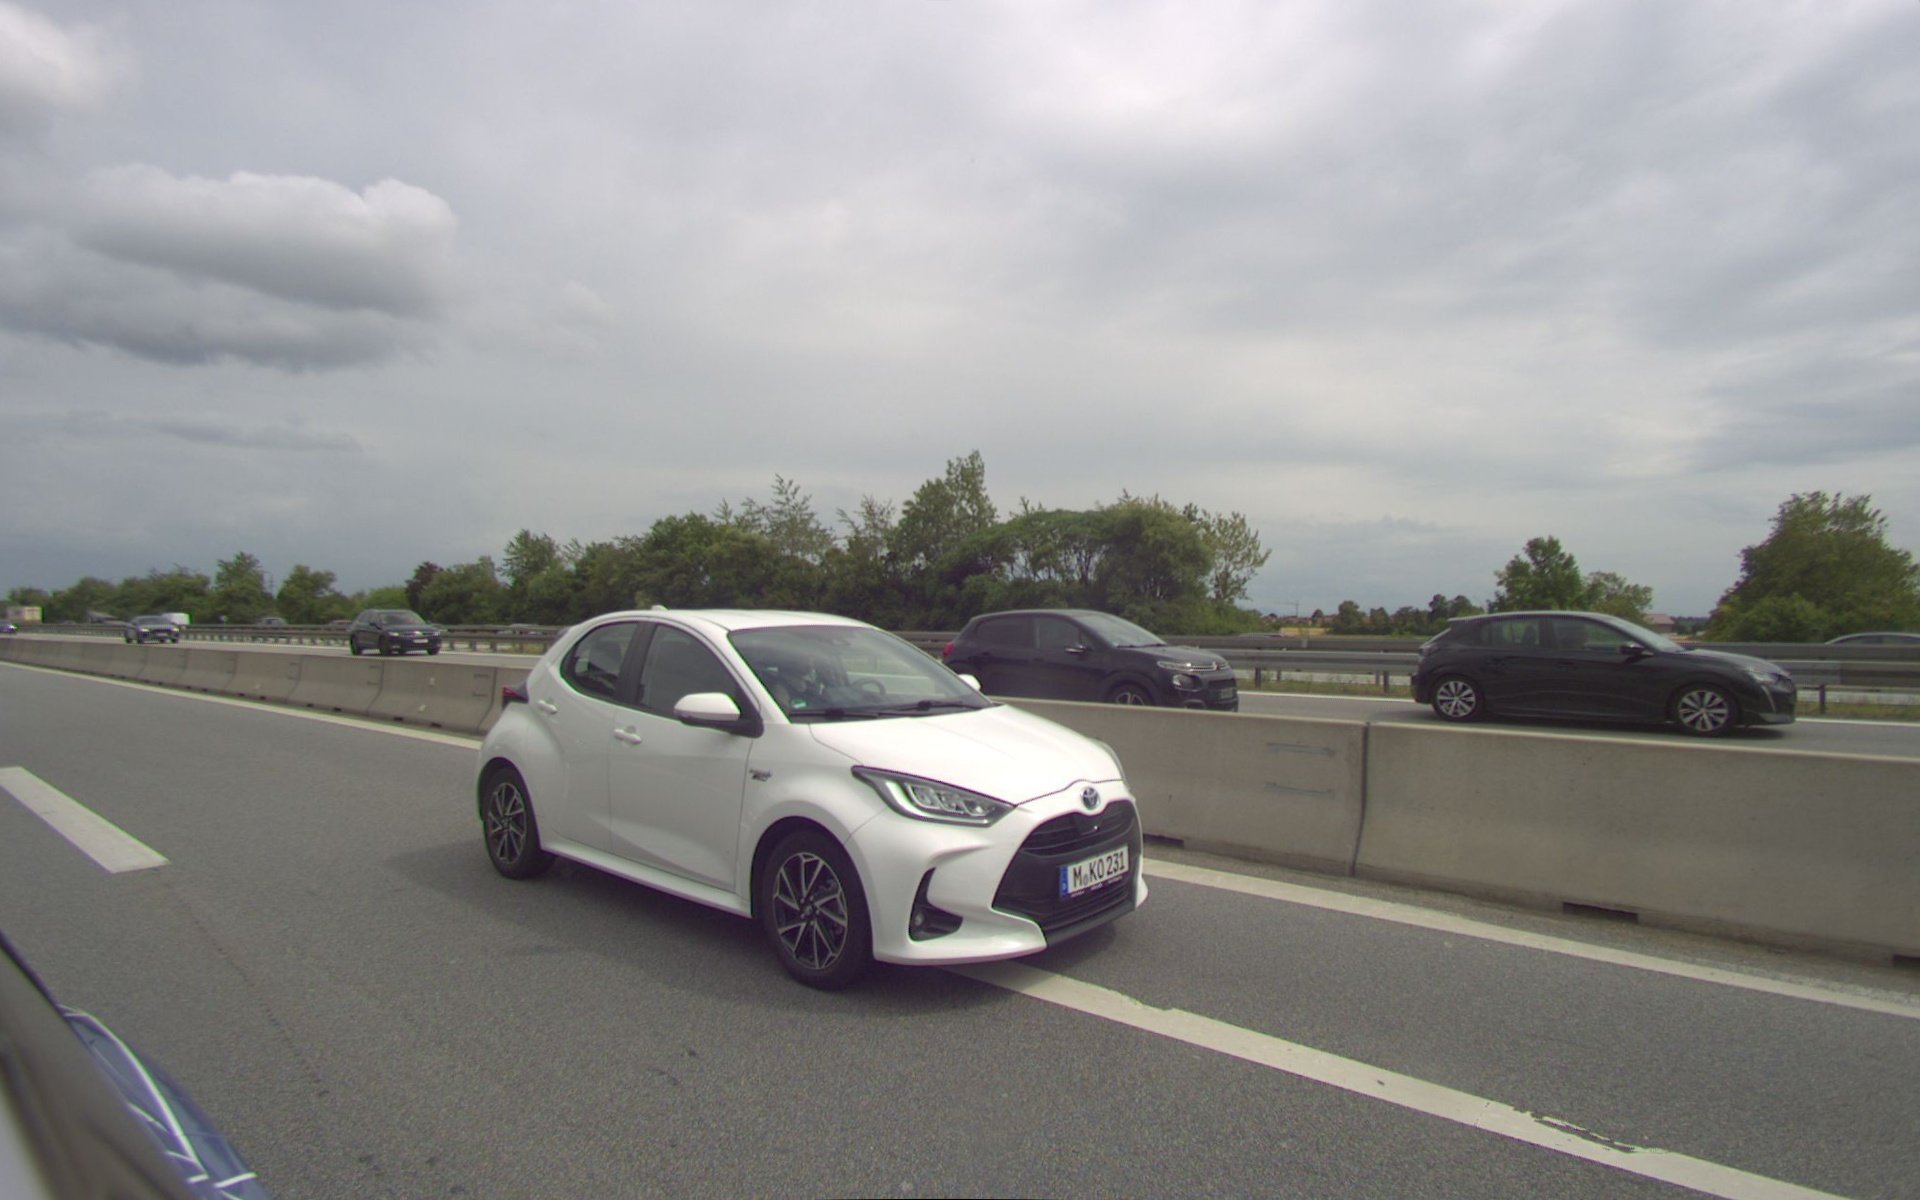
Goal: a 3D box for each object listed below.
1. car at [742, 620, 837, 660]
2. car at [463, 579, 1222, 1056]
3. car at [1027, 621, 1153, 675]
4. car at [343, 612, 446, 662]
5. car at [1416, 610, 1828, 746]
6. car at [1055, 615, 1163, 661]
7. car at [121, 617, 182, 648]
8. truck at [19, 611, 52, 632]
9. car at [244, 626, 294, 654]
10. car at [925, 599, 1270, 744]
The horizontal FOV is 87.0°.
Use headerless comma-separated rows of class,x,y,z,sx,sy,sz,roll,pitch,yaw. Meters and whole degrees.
car,-6.921,1.597,40.881,3.713,1.531,1.717,-1,-1,37
car,-0.828,0.728,5.135,3.838,1.519,1.683,-1,-1,41
car,4.423,1.609,34.645,3.993,1.741,1.672,-1,-1,37
car,-20.277,1.297,36.198,4.230,1.651,1.882,-1,-1,41
car,7.891,0.836,12.309,3.997,1.386,1.537,-1,-1,40
car,5.960,1.485,40.618,3.995,1.741,1.671,-1,-2,39
car,-46.161,1.838,57.736,4.642,1.652,1.882,-1,-1,41
truck,-174.400,4.012,190.883,9.829,3.811,3.218,-1,-1,40
car,-48.920,2.794,71.636,3.998,1.863,1.973,-1,-1,41
car,1.621,0.802,12.739,3.997,1.541,1.756,-1,-2,41
